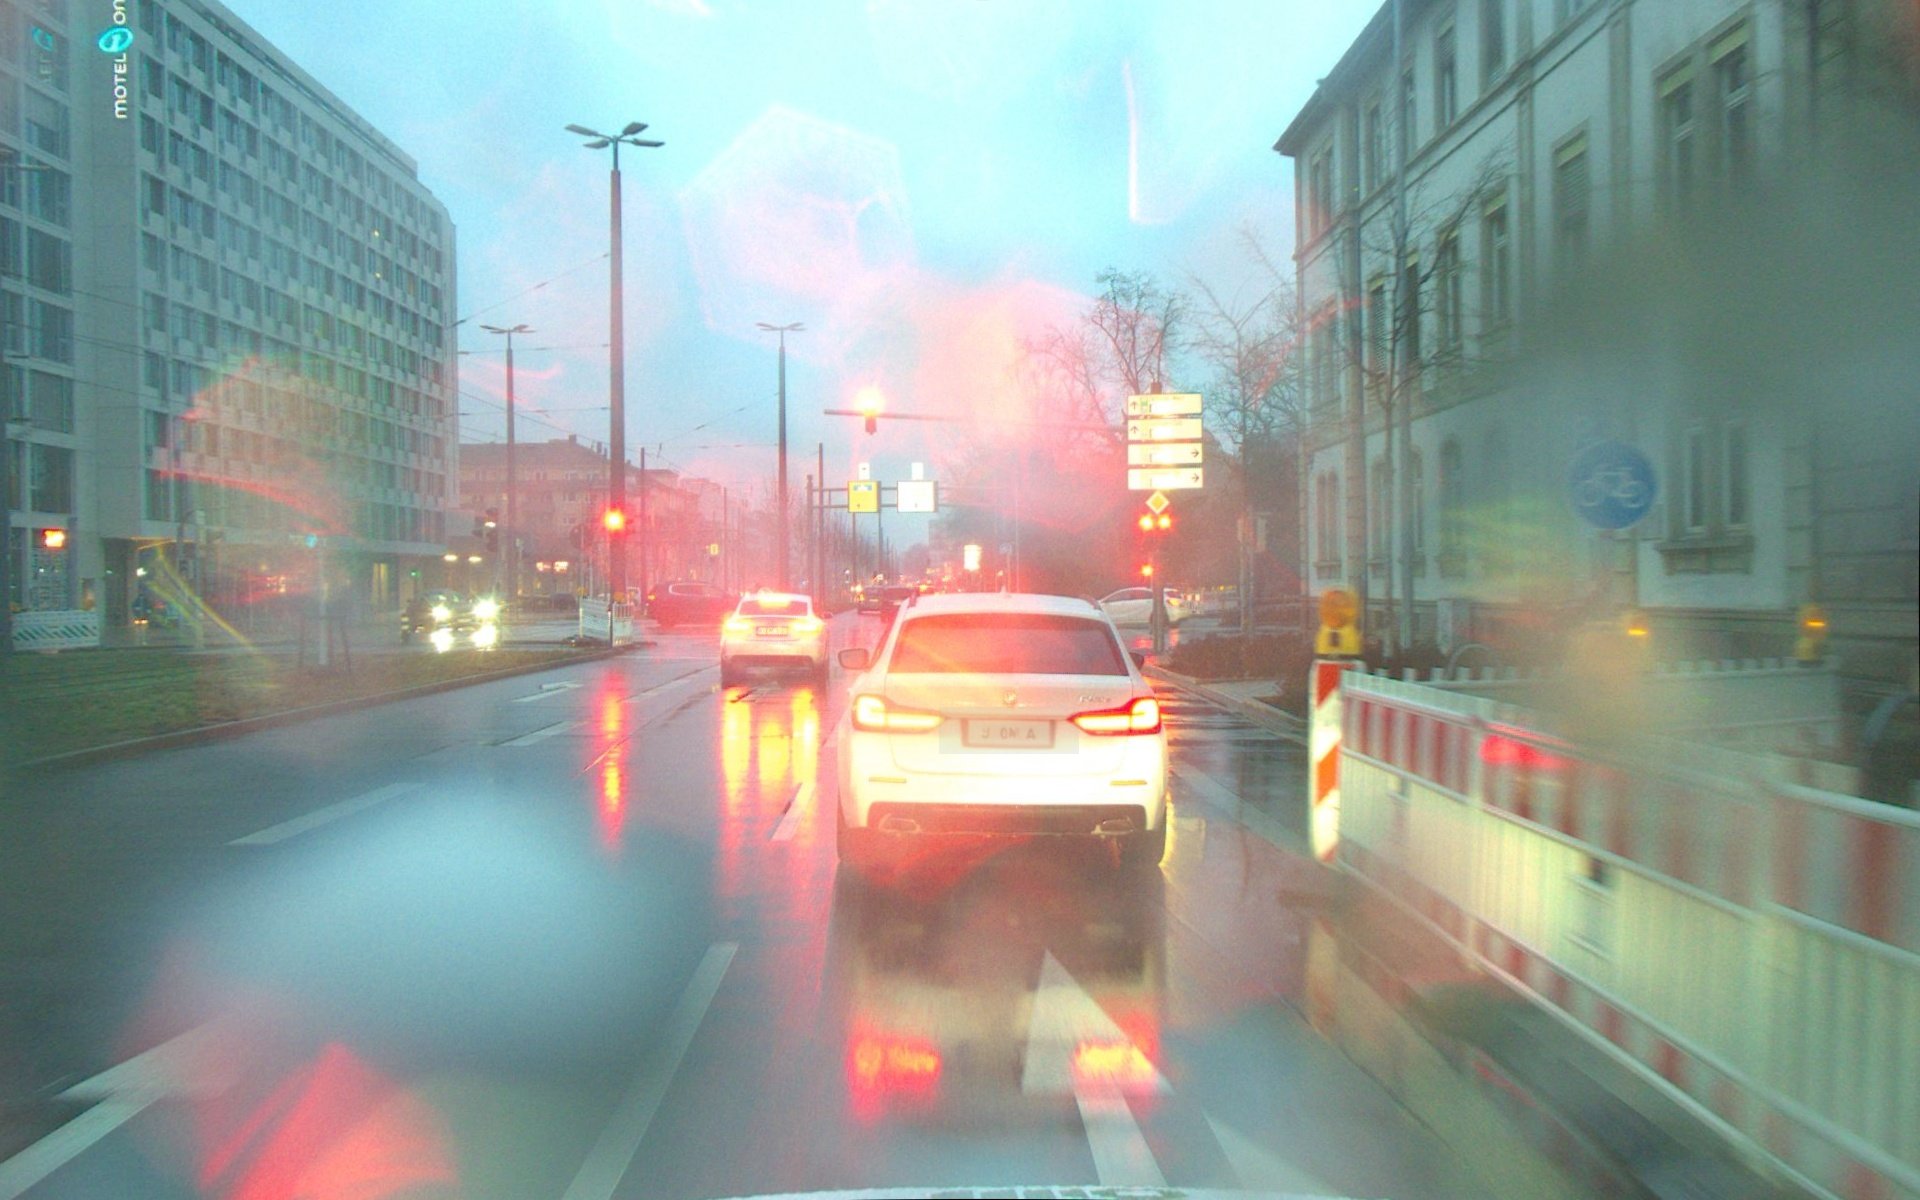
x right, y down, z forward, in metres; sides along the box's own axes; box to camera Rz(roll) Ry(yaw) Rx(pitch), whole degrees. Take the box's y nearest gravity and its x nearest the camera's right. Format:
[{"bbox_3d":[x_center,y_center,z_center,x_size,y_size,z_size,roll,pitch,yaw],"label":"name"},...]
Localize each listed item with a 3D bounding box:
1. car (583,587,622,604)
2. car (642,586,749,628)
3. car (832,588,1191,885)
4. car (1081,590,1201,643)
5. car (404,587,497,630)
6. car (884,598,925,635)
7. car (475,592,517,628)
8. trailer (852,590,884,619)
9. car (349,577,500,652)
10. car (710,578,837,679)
[{"bbox_3d":[-40.024,-0.495,185.213,4.134,1.775,1.836,-1,0,-8],"label":"car"},{"bbox_3d":[-9.903,0.248,61.834,3.872,1.533,1.847,0,0,-12],"label":"car"},{"bbox_3d":[0.195,0.671,10.801,1.814,1.491,4.945,0,0,-2],"label":"car"},{"bbox_3d":[6.433,0.578,58.652,3.905,1.829,1.851,0,0,21],"label":"car"},{"bbox_3d":[-18.430,0.279,59.749,3.480,1.518,1.734,0,0,43],"label":"car"},{"bbox_3d":[-2.608,0.765,77.907,1.862,1.670,3.999,0,0,-1],"label":"car"},{"bbox_3d":[-21.851,0.449,78.018,1.531,1.688,3.388,0,0,-9],"label":"car"},{"bbox_3d":[-5.298,0.234,95.490,1.797,1.672,3.997,0,0,-3],"label":"trailer"},{"bbox_3d":[-14.890,0.379,46.050,3.928,2.009,1.989,0,0,-20],"label":"car"},{"bbox_3d":[-3.222,0.457,29.295,1.862,1.670,3.999,0,0,-1],"label":"car"}]
